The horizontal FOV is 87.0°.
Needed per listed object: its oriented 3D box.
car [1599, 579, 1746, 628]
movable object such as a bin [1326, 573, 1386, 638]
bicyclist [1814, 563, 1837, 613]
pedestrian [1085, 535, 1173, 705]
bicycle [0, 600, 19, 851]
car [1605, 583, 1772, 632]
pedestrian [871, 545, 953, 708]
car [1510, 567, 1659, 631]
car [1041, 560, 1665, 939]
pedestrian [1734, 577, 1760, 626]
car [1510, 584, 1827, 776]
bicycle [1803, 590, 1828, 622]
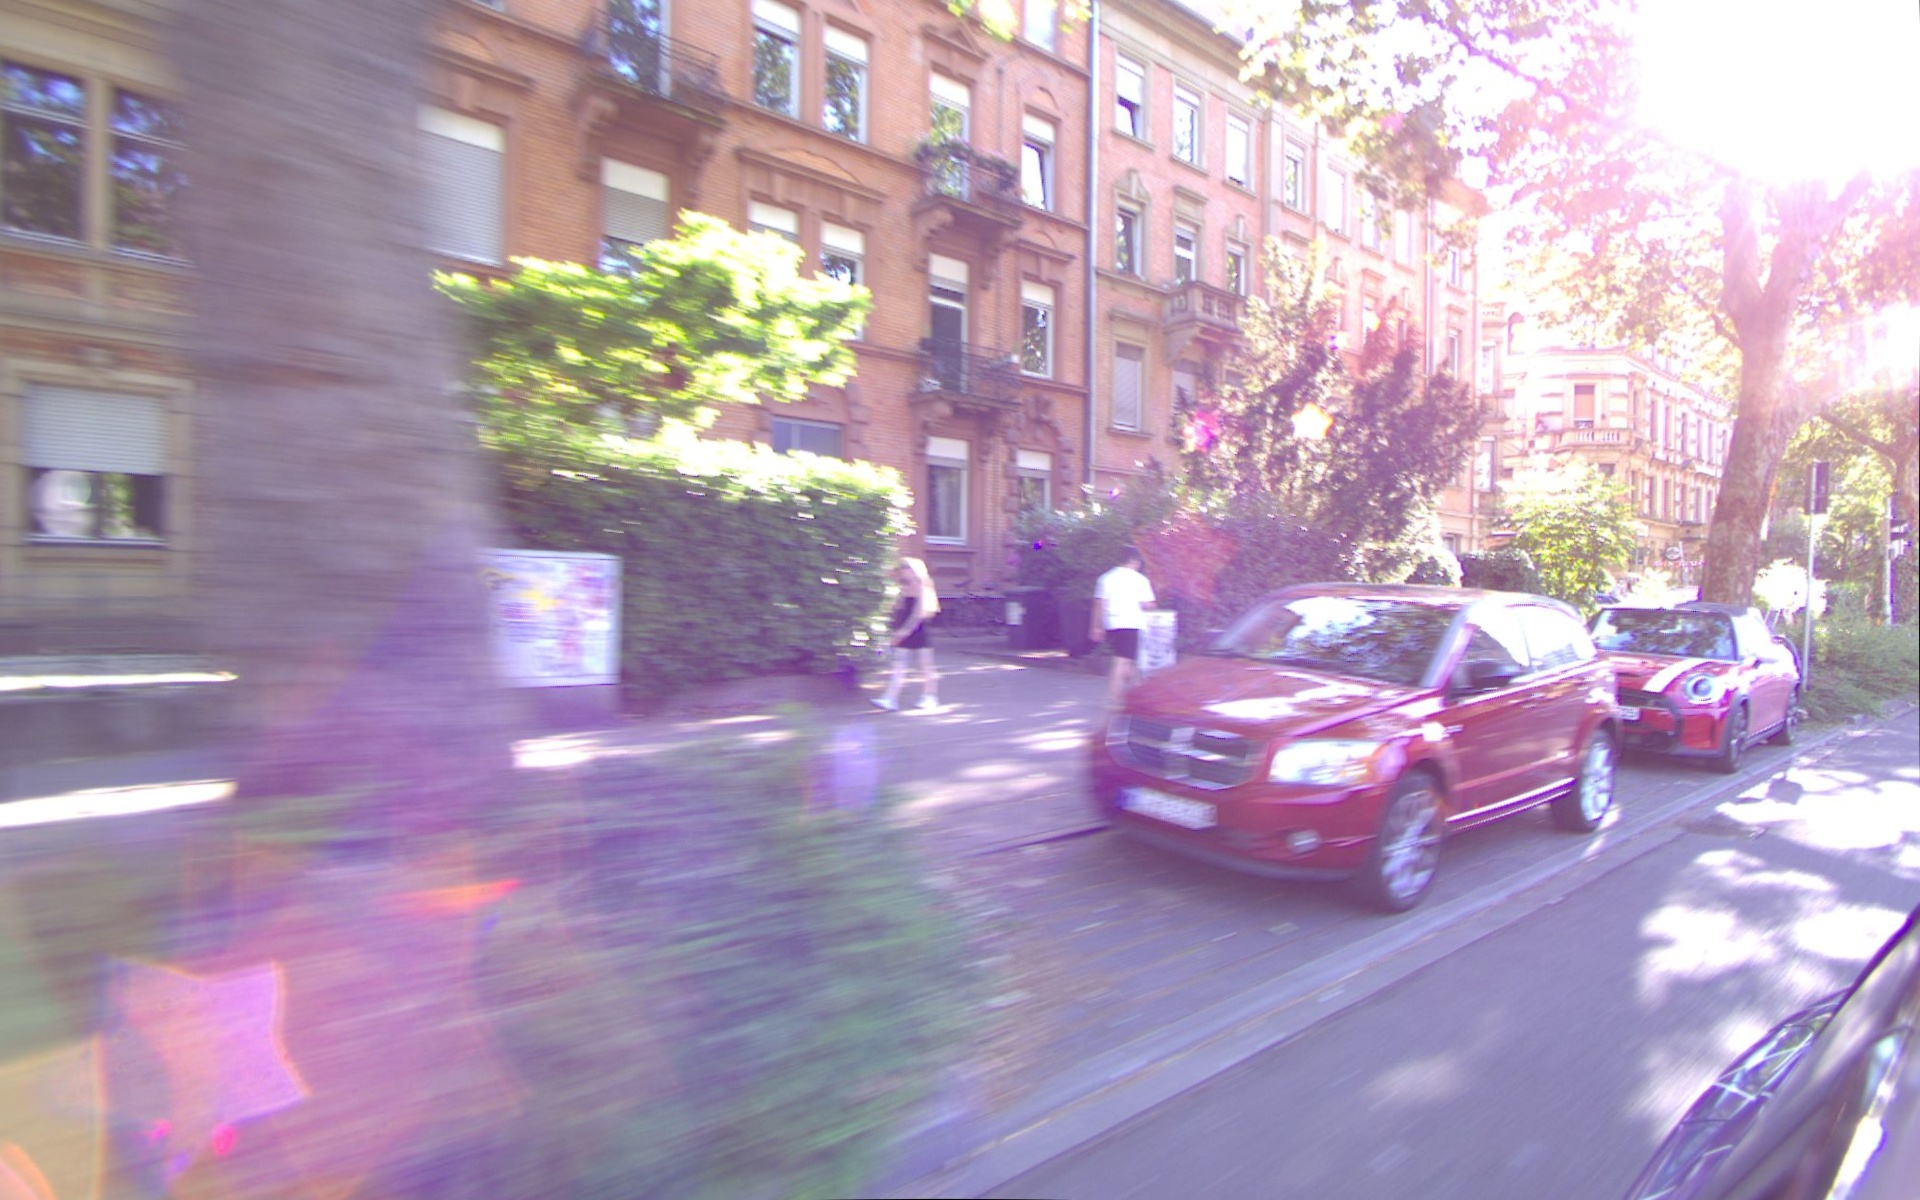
[{"bbox_3d":[28.840,0.109,41.090,1.874,1.869,4.556,0,0,-40],"label":"car"},{"bbox_3d":[9.494,0.110,24.277,1.065,1.482,0.908,0,2,-42],"label":"movable object such as a bin"},{"bbox_3d":[29.140,-0.397,34.073,0.543,1.646,0.634,2,1,43],"label":"bicyclist"},{"bbox_3d":[1.879,0.211,11.249,0.633,1.808,0.690,1,0,-42],"label":"pedestrian"},{"bbox_3d":[-5.612,0.602,4.404,2.187,1.193,0.561,1,1,-42],"label":"bicycle"},{"bbox_3d":[26.203,0.326,36.511,1.874,1.559,4.552,2,-4,-41],"label":"car"},{"bbox_3d":[-0.506,0.258,10.629,0.606,1.648,0.531,1,1,-40],"label":"pedestrian"},{"bbox_3d":[21.707,-0.051,35.262,1.965,2.039,3.993,4,-1,-42],"label":"car"},{"bbox_3d":[2.675,0.554,6.289,4.422,1.568,1.718,-1,3,-40],"label":"car"},{"bbox_3d":[25.658,0.035,33.004,0.596,1.569,0.540,3,-1,-41],"label":"pedestrian"},{"bbox_3d":[7.168,0.612,10.101,3.931,1.480,1.717,-2,2,-41],"label":"car"},{"bbox_3d":[28.941,0.218,34.234,0.560,1.051,1.903,-1,-1,42],"label":"bicycle"}]
